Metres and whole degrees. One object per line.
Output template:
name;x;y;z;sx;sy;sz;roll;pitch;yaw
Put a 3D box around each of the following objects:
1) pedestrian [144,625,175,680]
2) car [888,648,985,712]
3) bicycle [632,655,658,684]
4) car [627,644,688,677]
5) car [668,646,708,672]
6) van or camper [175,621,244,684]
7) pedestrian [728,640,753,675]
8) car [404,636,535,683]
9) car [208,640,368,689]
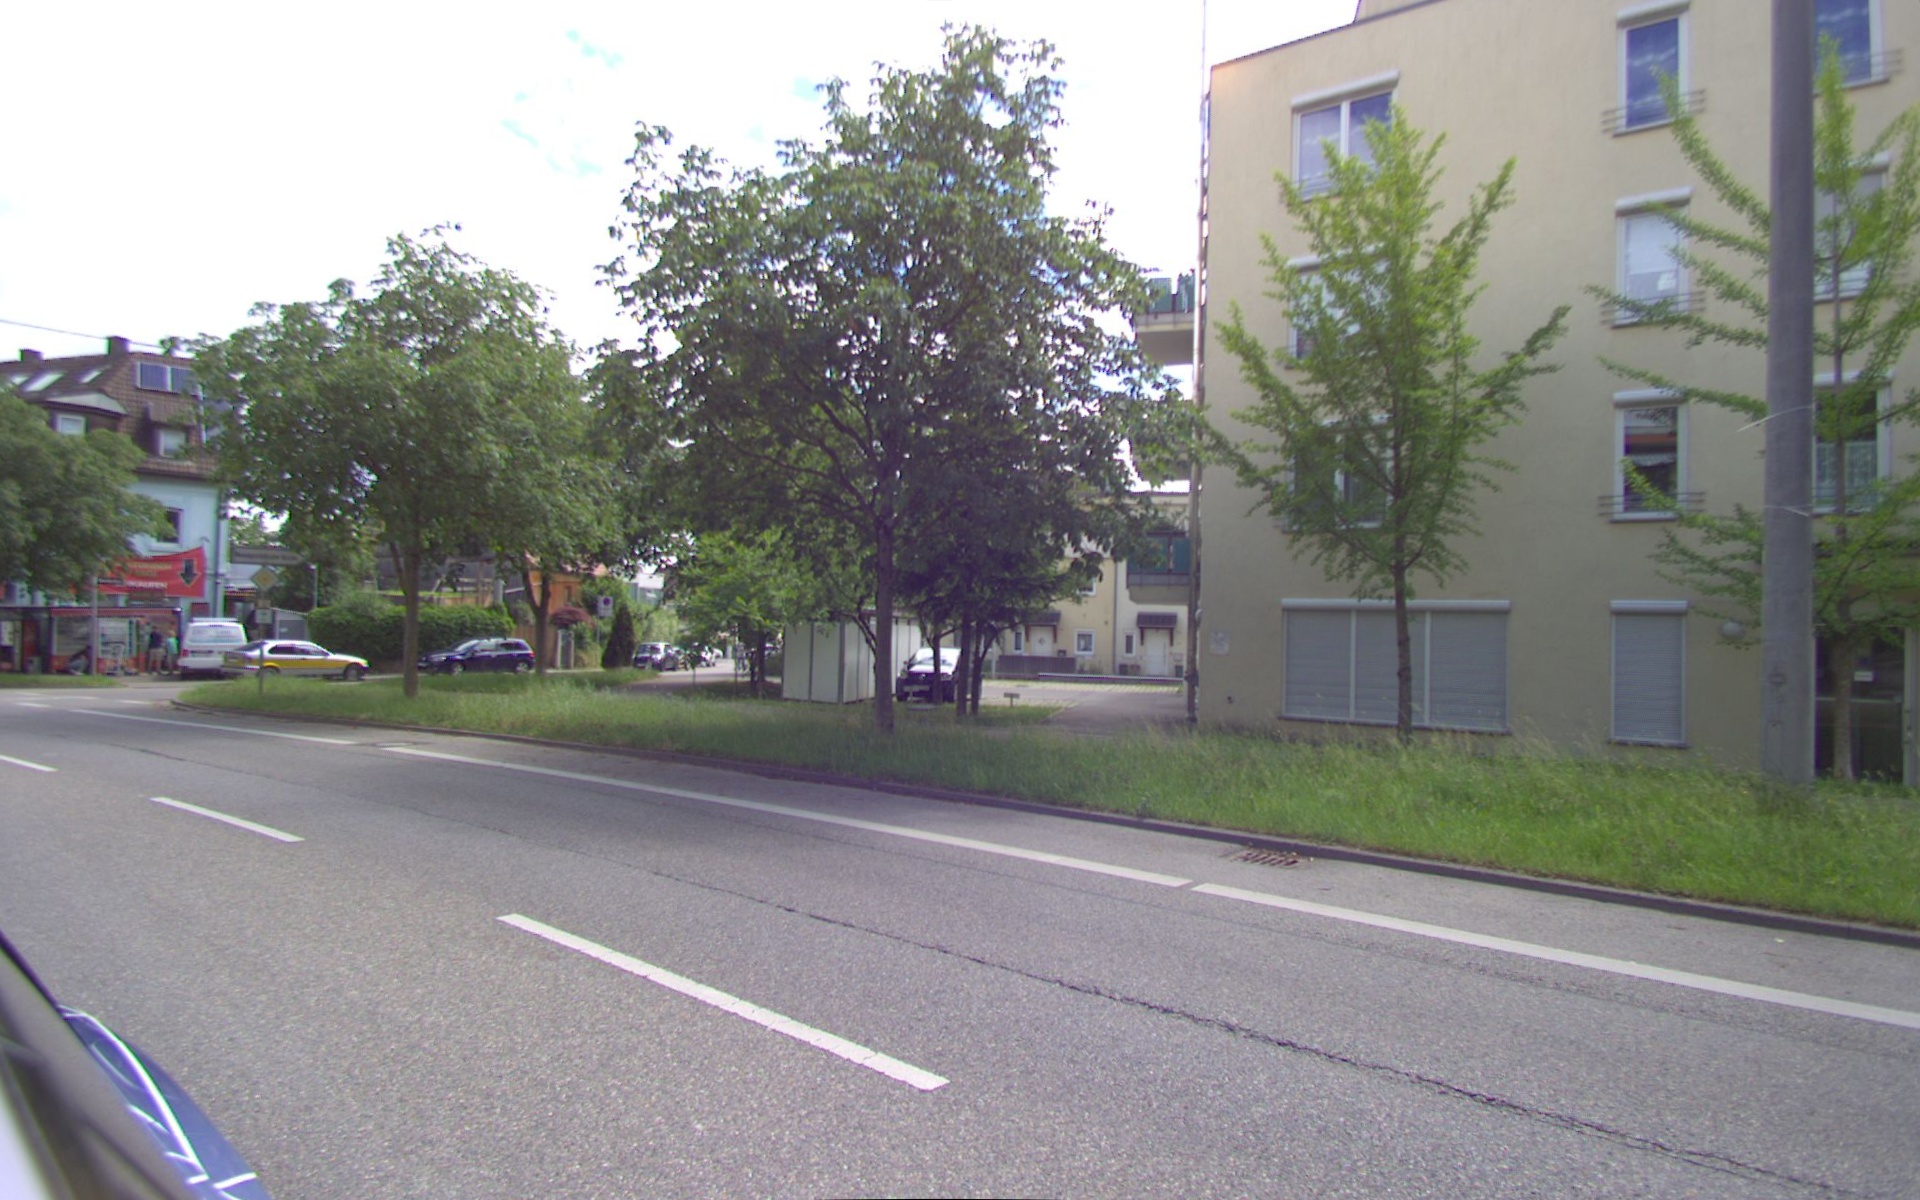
pedestrian;-28.169;1.824;35.607;0.557;1.910;0.624;1;-1;5
car;-0.568;2.076;26.986;1.422;1.461;3.374;0;-1;20
bicycle;-10.704;2.349;34.464;0.457;0.866;2.229;1;-1;-7
car;-14.430;2.870;48.512;1.573;1.332;3.773;2;-1;4
car;-16.518;3.549;61.599;1.570;1.332;3.781;2;-1;-4
van or camper;-26.036;1.778;35.072;1.762;2.009;4.388;3;-2;-38
pedestrian;-10.246;2.694;47.338;0.811;1.607;0.728;-6;-5;30
car;-18.094;2.158;37.487;1.811;1.560;3.956;1;-1;33
car;-21.919;2.048;33.184;1.807;1.424;3.991;1;-1;28
